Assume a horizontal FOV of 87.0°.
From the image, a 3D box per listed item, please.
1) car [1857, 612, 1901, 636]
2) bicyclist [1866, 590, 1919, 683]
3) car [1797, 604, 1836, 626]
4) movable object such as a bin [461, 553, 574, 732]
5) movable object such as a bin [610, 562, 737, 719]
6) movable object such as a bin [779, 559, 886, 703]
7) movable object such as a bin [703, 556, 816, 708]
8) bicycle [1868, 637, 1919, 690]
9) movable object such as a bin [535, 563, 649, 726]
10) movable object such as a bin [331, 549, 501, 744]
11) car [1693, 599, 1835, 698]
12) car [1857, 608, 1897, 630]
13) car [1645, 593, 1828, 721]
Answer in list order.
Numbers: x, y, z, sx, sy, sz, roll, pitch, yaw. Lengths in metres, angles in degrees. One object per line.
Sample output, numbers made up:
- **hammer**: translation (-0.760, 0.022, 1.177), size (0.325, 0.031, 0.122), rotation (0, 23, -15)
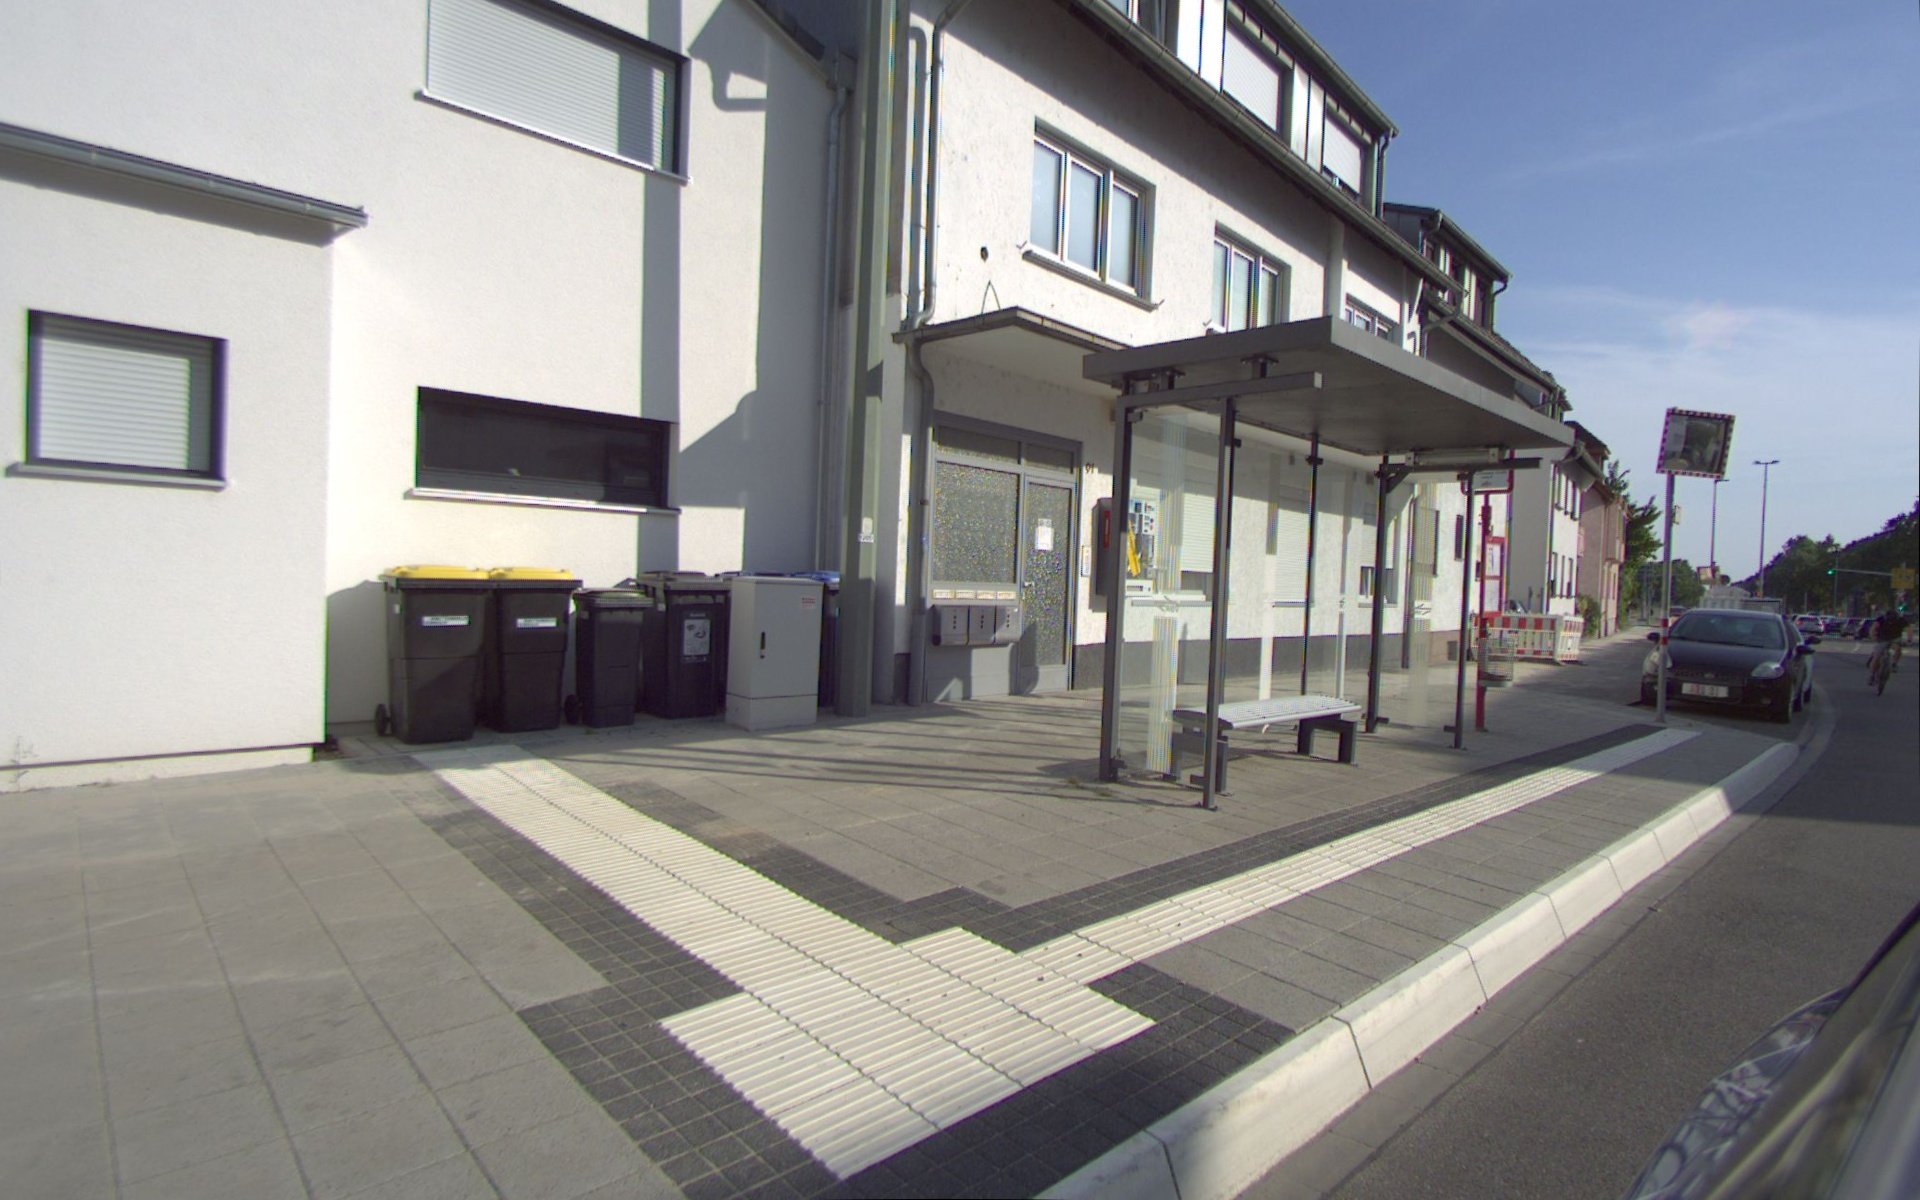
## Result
- **car**: translation (61.216, 1.567, 67.450), size (1.786, 1.460, 3.946), rotation (1, 0, 37)
- **bicyclist**: translation (17.985, 0.682, 19.394), size (0.843, 1.710, 0.863), rotation (2, 1, 44)
- **car**: translation (64.944, 1.127, 76.755), size (1.972, 1.548, 3.946), rotation (3, 2, 37)
- **movable object such as a bin**: translation (-2.974, 0.254, 6.780), size (0.435, 1.106, 0.813), rotation (1, 2, -42)
- **movable object such as a bin**: translation (-2.149, 0.272, 7.564), size (0.591, 1.072, 0.813), rotation (1, 3, -42)
- **movable object such as a bin**: translation (-1.058, 0.236, 8.346), size (0.549, 1.106, 0.697), rotation (1, 2, -42)
- **movable object such as a bin**: translation (-1.579, 0.229, 7.950), size (0.549, 1.106, 0.697), rotation (1, 3, -44)
- **bicycle**: translation (17.843, 1.188, 19.323), size (0.678, 0.865, 1.995), rotation (2, 1, 44)
- **movable object such as a bin**: translation (-2.599, 0.285, 7.130), size (0.462, 1.049, 0.813), rotation (1, 3, -42)
- **movable object such as a bin**: translation (-3.434, 0.253, 6.377), size (0.754, 1.106, 0.813), rotation (1, 3, -42)
- **car**: translation (14.621, 0.784, 18.434), size (1.714, 1.414, 4.272), rotation (7, 4, 39)
- **car**: translation (67.750, 1.381, 74.816), size (1.786, 1.460, 3.946), rotation (2, 1, 37)
- **car**: translation (11.257, 0.714, 14.571), size (1.609, 1.437, 3.859), rotation (9, 6, 43)
